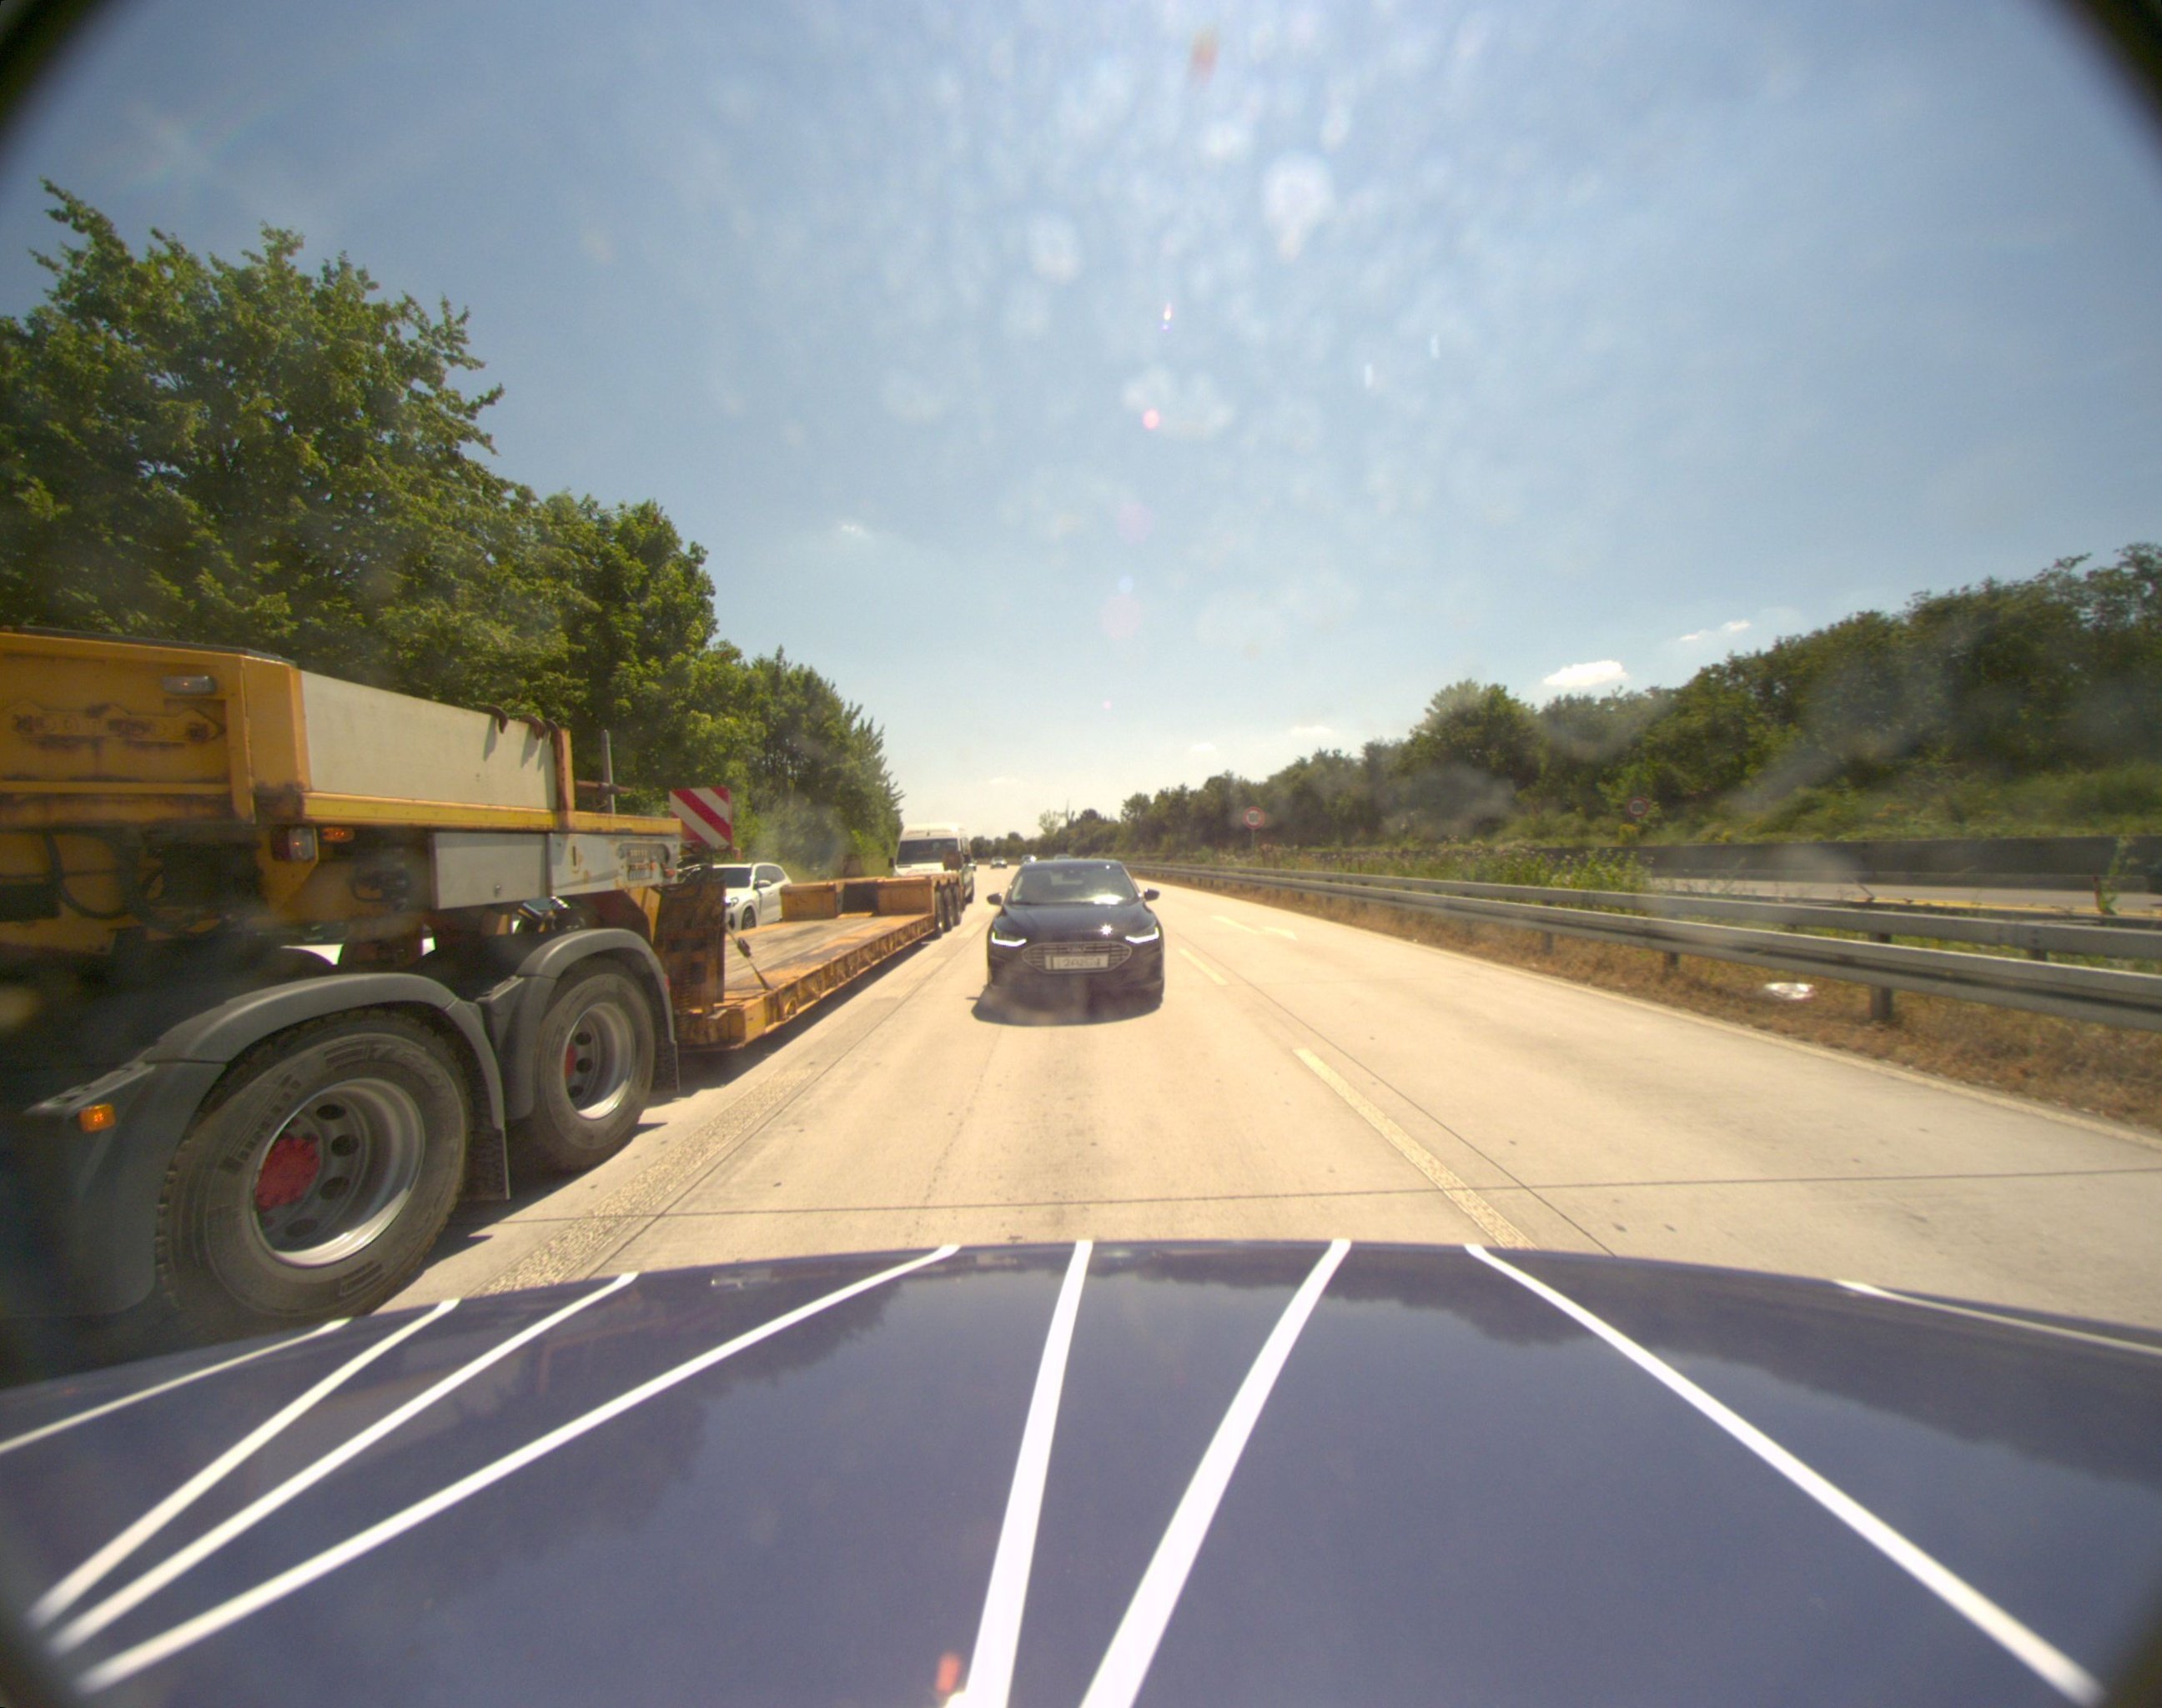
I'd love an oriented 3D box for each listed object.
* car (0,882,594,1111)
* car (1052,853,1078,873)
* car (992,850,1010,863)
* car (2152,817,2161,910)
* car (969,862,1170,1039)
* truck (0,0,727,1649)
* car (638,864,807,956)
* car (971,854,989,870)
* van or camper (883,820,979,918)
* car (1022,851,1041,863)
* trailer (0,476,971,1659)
[{"bbox_3d":[-7.547,1.176,8.109,1.772,1.454,4.597,-2,1,-2],"label":"car"},{"bbox_3d":[-1.338,0.734,61.923,1.628,1.476,3.996,-2,1,-8],"label":"car"},{"bbox_3d":[-9.932,0.269,93.951,1.892,1.456,3.996,-2,1,-9],"label":"car"},{"bbox_3d":[18.236,0.144,10.139,1.716,1.476,4.291,-2,1,-5],"label":"car"},{"bbox_3d":[-0.088,0.883,8.901,1.731,1.430,4.303,-2,0,0],"label":"car"},{"bbox_3d":[-3.905,-0.099,1.308,3.021,3.751,7.468,-2,1,-1],"label":"truck"},{"bbox_3d":[-7.505,1.078,16.455,1.773,1.552,4.366,-2,1,-4],"label":"car"},{"bbox_3d":[-10.878,0.786,81.321,1.773,1.552,4.364,-2,1,-9],"label":"car"},{"bbox_3d":[-4.399,0.358,23.282,2.069,2.559,5.905,-2,1,-4],"label":"van or camper"},{"bbox_3d":[-6.196,0.373,94.704,1.707,1.456,3.995,-2,1,-11],"label":"car"},{"bbox_3d":[-4.018,0.451,9.563,3.035,2.578,16.353,-2,0,-1],"label":"trailer"}]
